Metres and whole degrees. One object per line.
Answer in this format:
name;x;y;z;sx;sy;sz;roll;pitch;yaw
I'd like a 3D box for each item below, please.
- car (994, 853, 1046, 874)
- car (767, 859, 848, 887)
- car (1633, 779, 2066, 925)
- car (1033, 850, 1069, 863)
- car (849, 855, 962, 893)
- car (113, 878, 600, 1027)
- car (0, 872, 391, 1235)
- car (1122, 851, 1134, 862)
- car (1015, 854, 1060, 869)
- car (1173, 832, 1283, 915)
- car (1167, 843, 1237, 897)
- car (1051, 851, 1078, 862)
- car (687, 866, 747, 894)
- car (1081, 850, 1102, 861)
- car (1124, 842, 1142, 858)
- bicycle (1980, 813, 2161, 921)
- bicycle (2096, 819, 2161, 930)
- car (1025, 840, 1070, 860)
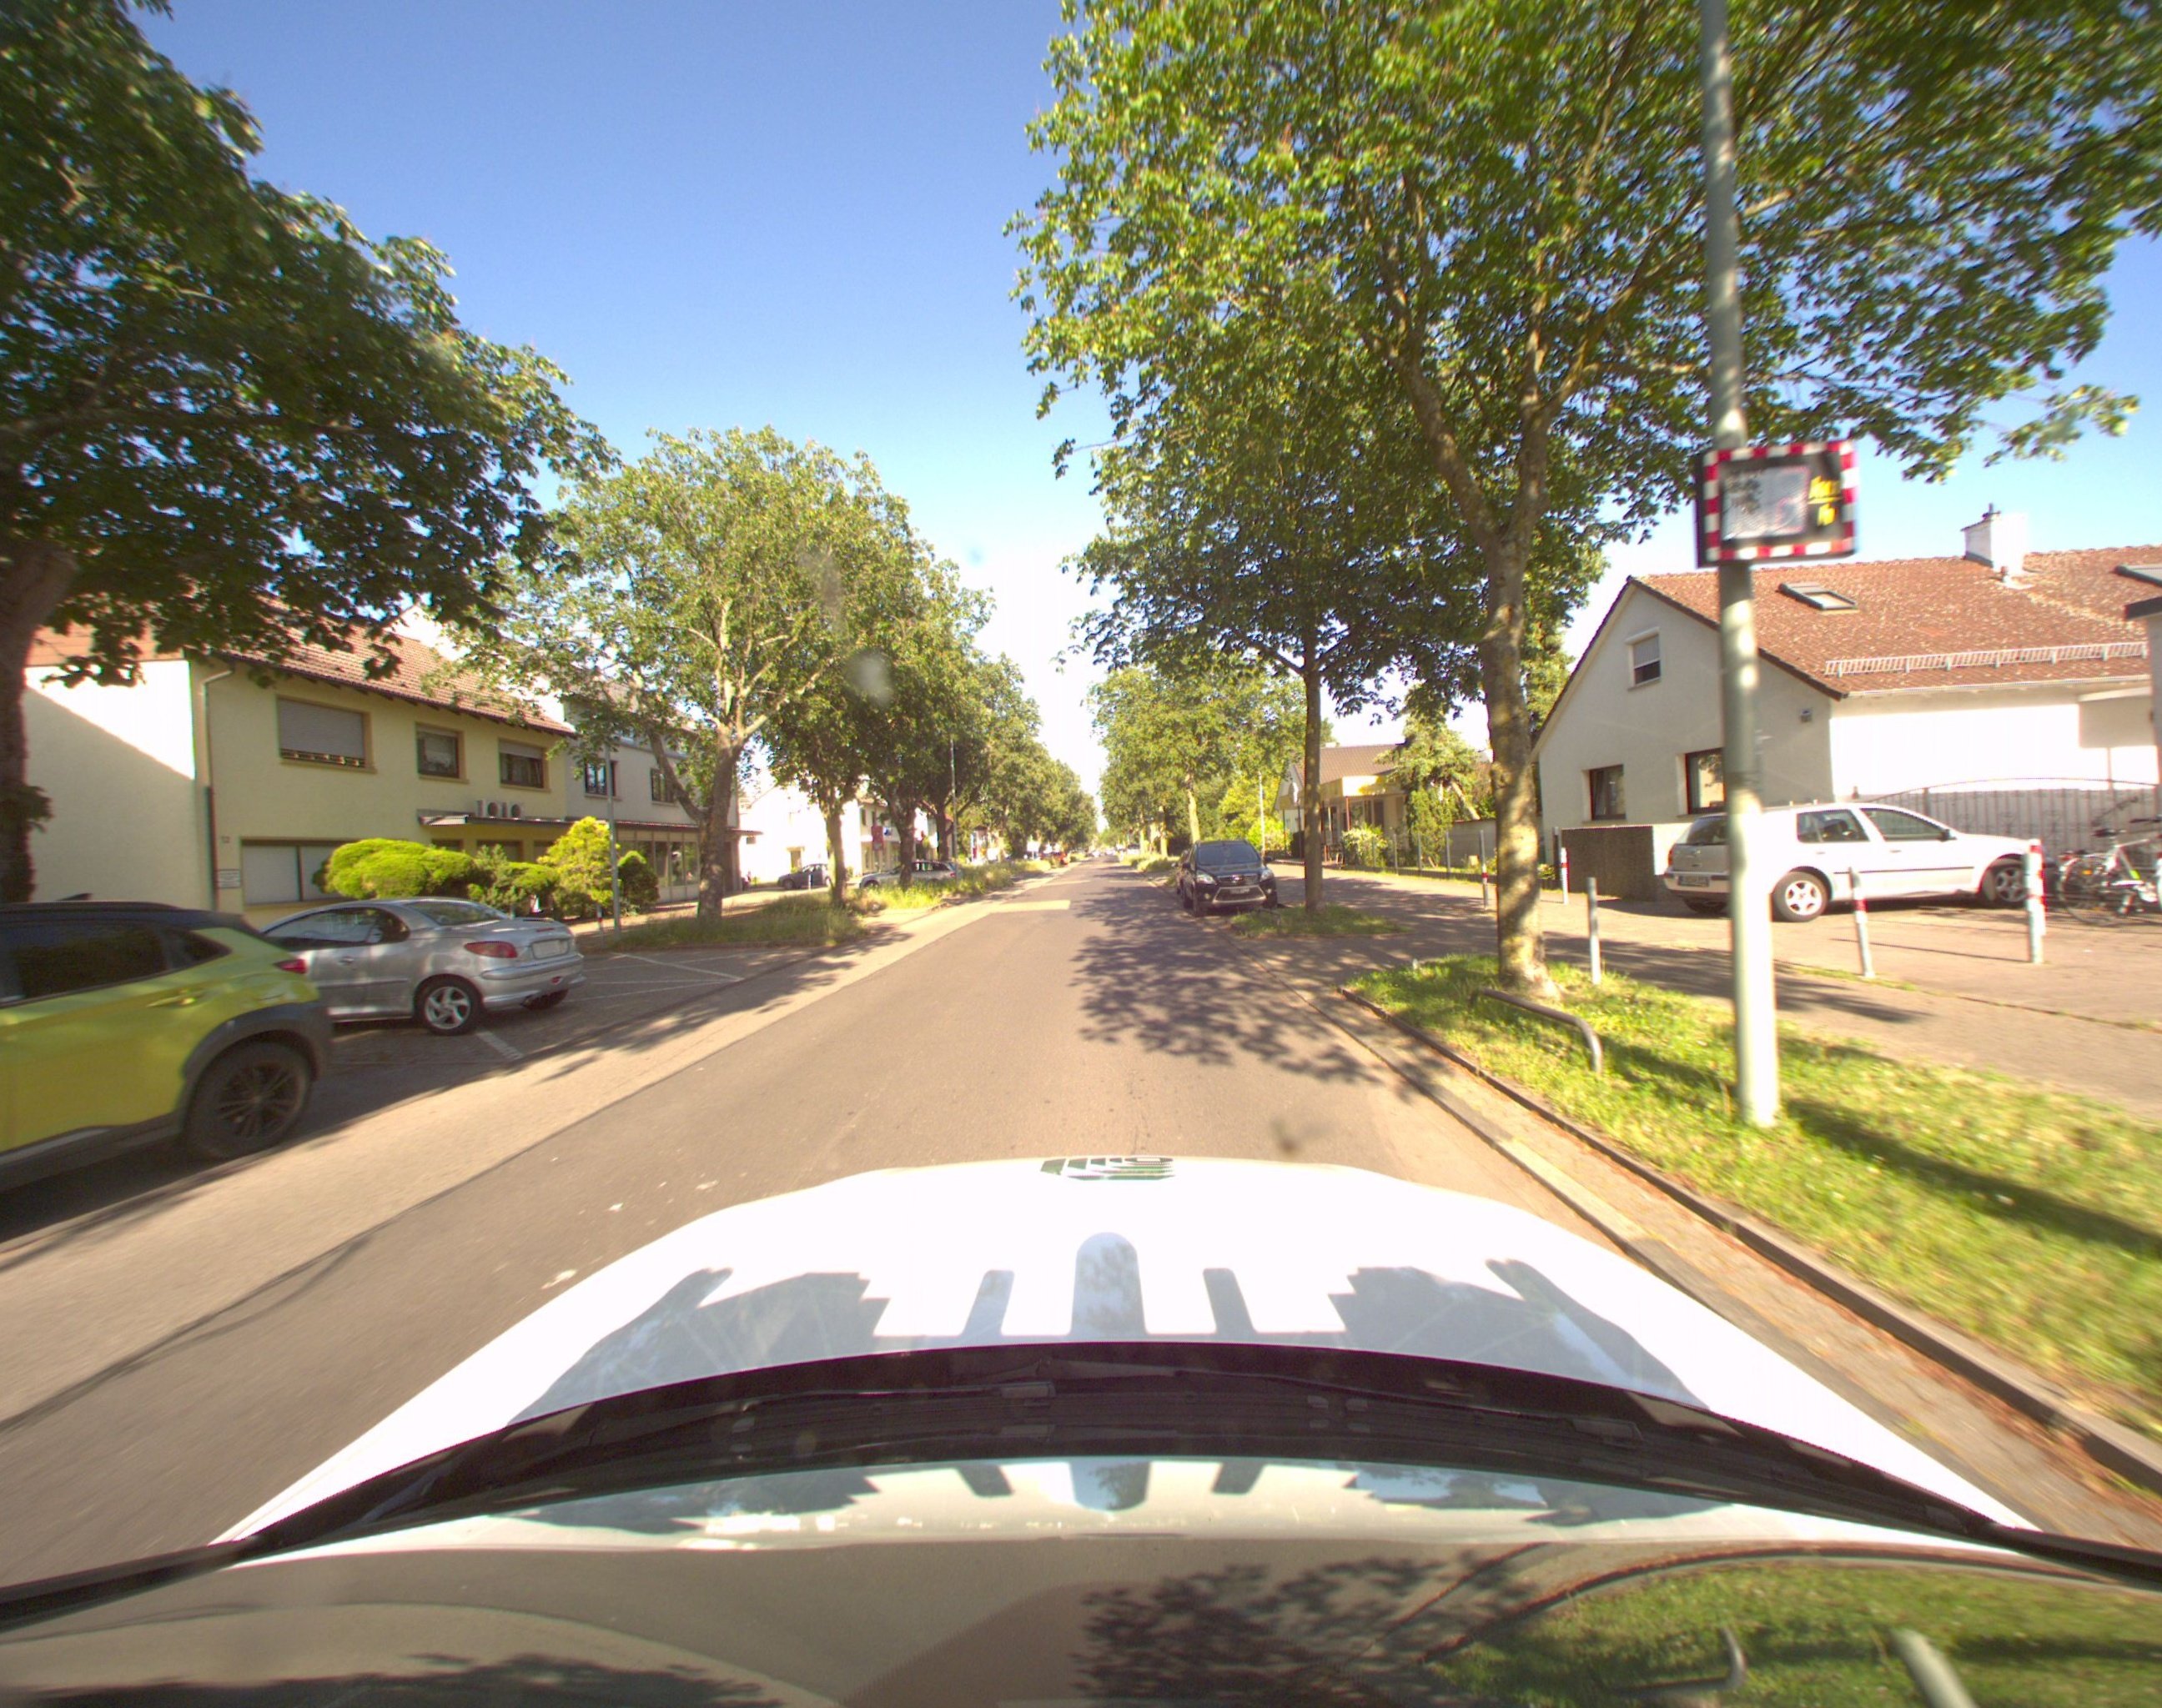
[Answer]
car;-5.481;0.862;73.714;4.535;1.765;1.998;-1;2;-3
car;-17.714;1.199;52.974;4.543;1.617;1.999;-1;2;-2
car;10.053;-0.054;10.912;3.974;1.488;1.902;-4;2;0
car;-3.340;0.258;92.056;3.857;1.479;1.896;0;0;4
car;-7.724;0.862;36.123;4.537;1.511;1.842;-1;2;1
car;-7.588;0.994;8.804;3.752;1.301;1.612;-1;2;0
car;-5.839;0.921;3.459;1.931;1.609;4.387;-1;-1;3
car;7.539;0.382;130.359;1.895;1.774;4.303;-1;0;2
car;-4.239;0.718;79.717;4.277;1.315;1.907;-1;2;-3
car;3.361;0.424;19.415;1.846;1.625;4.471;-4;-1;2
car;3.760;0.475;25.917;1.691;1.479;3.889;-4;0;2
car;-2.290;0.339;114.539;3.684;1.446;1.667;-1;0;5
car;-19.429;1.361;43.602;1.535;1.237;3.512;-1;2;1
car;2.119;0.297;164.559;3.967;2.013;2.004;-1;2;6
car;5.898;-0.427;92.189;1.895;1.774;4.303;-1;0;2
bicycle;10.974;0.121;8.772;1.917;0.998;0.576;-4;1;0
bicycle;11.043;0.141;7.786;1.951;0.998;0.576;-4;1;0
car;-4.126;-0.490;101.470;5.480;2.247;2.517;-1;2;0
